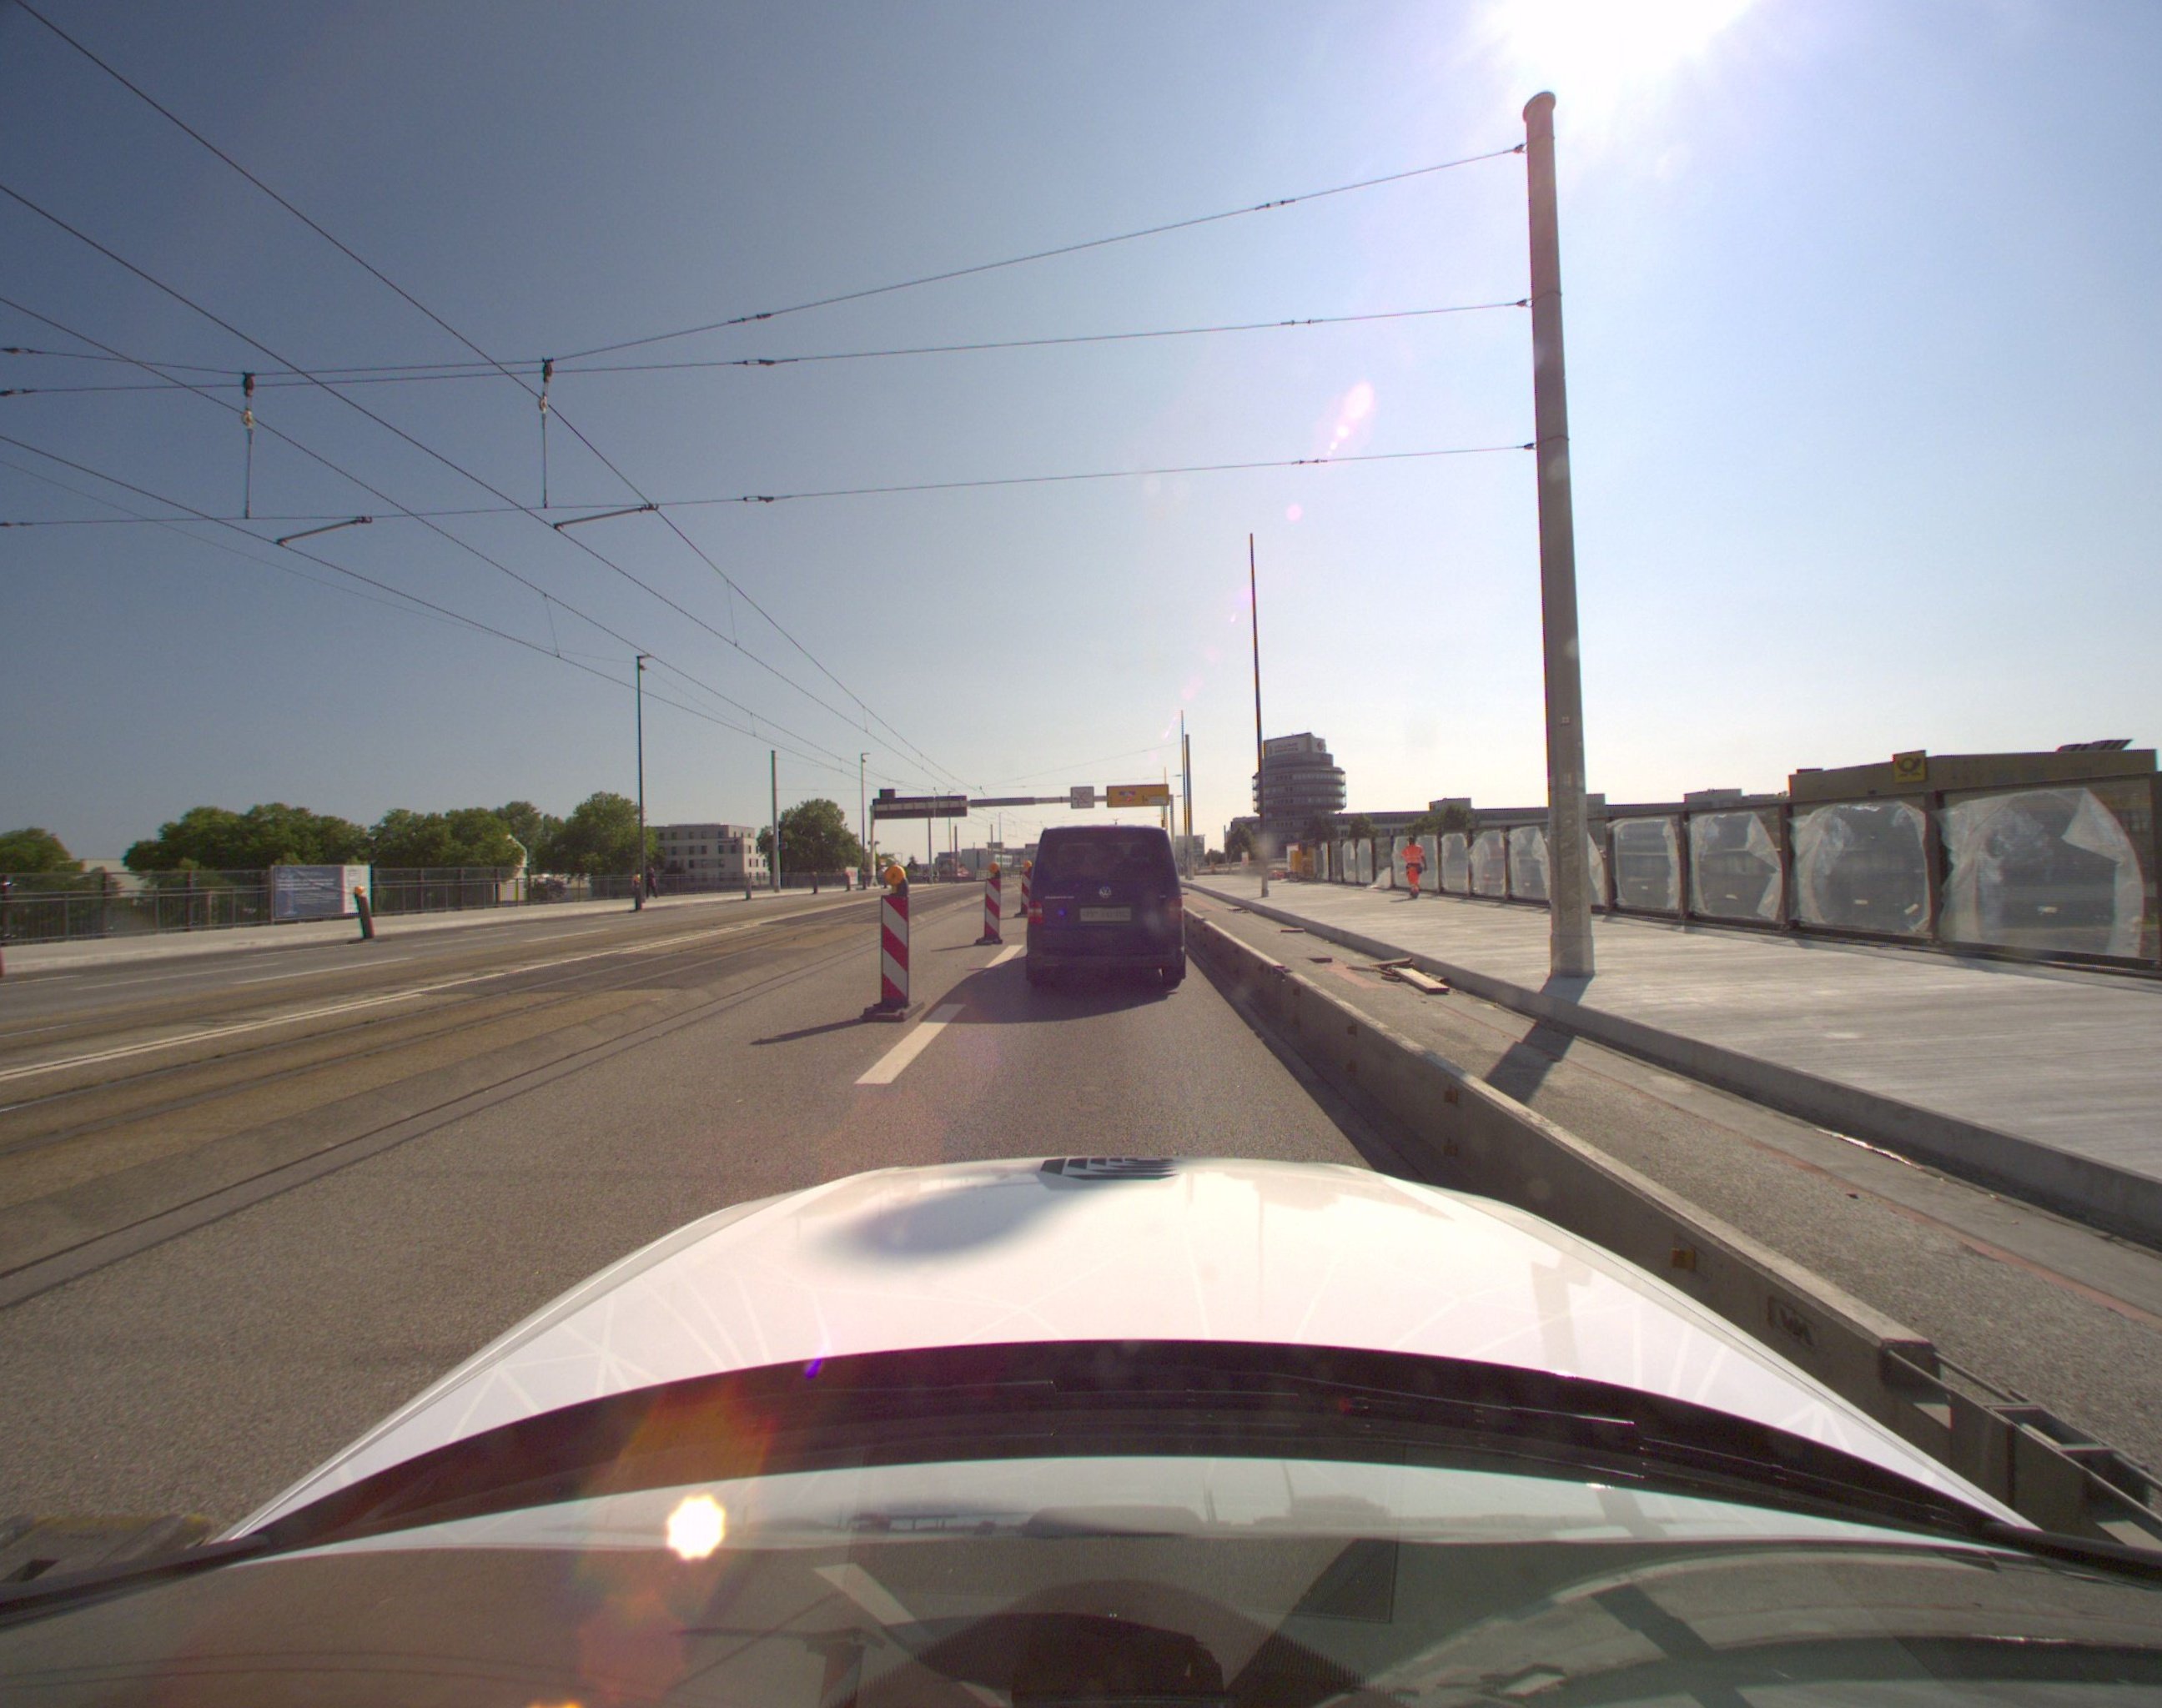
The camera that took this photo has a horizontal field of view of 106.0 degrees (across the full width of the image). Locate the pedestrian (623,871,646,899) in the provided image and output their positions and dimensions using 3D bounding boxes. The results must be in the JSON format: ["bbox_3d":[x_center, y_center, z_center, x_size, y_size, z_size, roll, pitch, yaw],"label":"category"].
[{"bbox_3d":[-25.010,1.746,45.622,0.717,1.544,0.889,1,-1,2],"label":"pedestrian"}]

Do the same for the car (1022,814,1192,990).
[{"bbox_3d":[0.352,0.566,11.021,1.881,1.934,4.001,0,-1,2],"label":"car"}]

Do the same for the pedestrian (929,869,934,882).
[{"bbox_3d":[-20.121,2.873,109.519,0.483,1.687,0.809,-2,-1,5],"label":"pedestrian"}]

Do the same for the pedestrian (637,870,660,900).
[{"bbox_3d":[-24.203,1.709,45.600,0.741,1.642,0.895,1,-1,2],"label":"pedestrian"}]

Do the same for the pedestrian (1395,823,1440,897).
[{"bbox_3d":[9.233,0.163,22.358,0.728,1.965,1.017,-3,-1,2],"label":"pedestrian"}]

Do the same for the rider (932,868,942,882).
[{"bbox_3d":[-18.690,2.696,105.708,0.760,1.733,2.952,-1,-1,1],"label":"rider"}]

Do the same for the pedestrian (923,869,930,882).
[{"bbox_3d":[-20.712,2.844,109.244,0.594,1.687,0.819,-2,-1,5],"label":"pedestrian"}]

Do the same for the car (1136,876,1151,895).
[{"bbox_3d":[10.193,5.066,132.713,2.329,2.887,5.975,0,-1,3],"label":"car"}]
